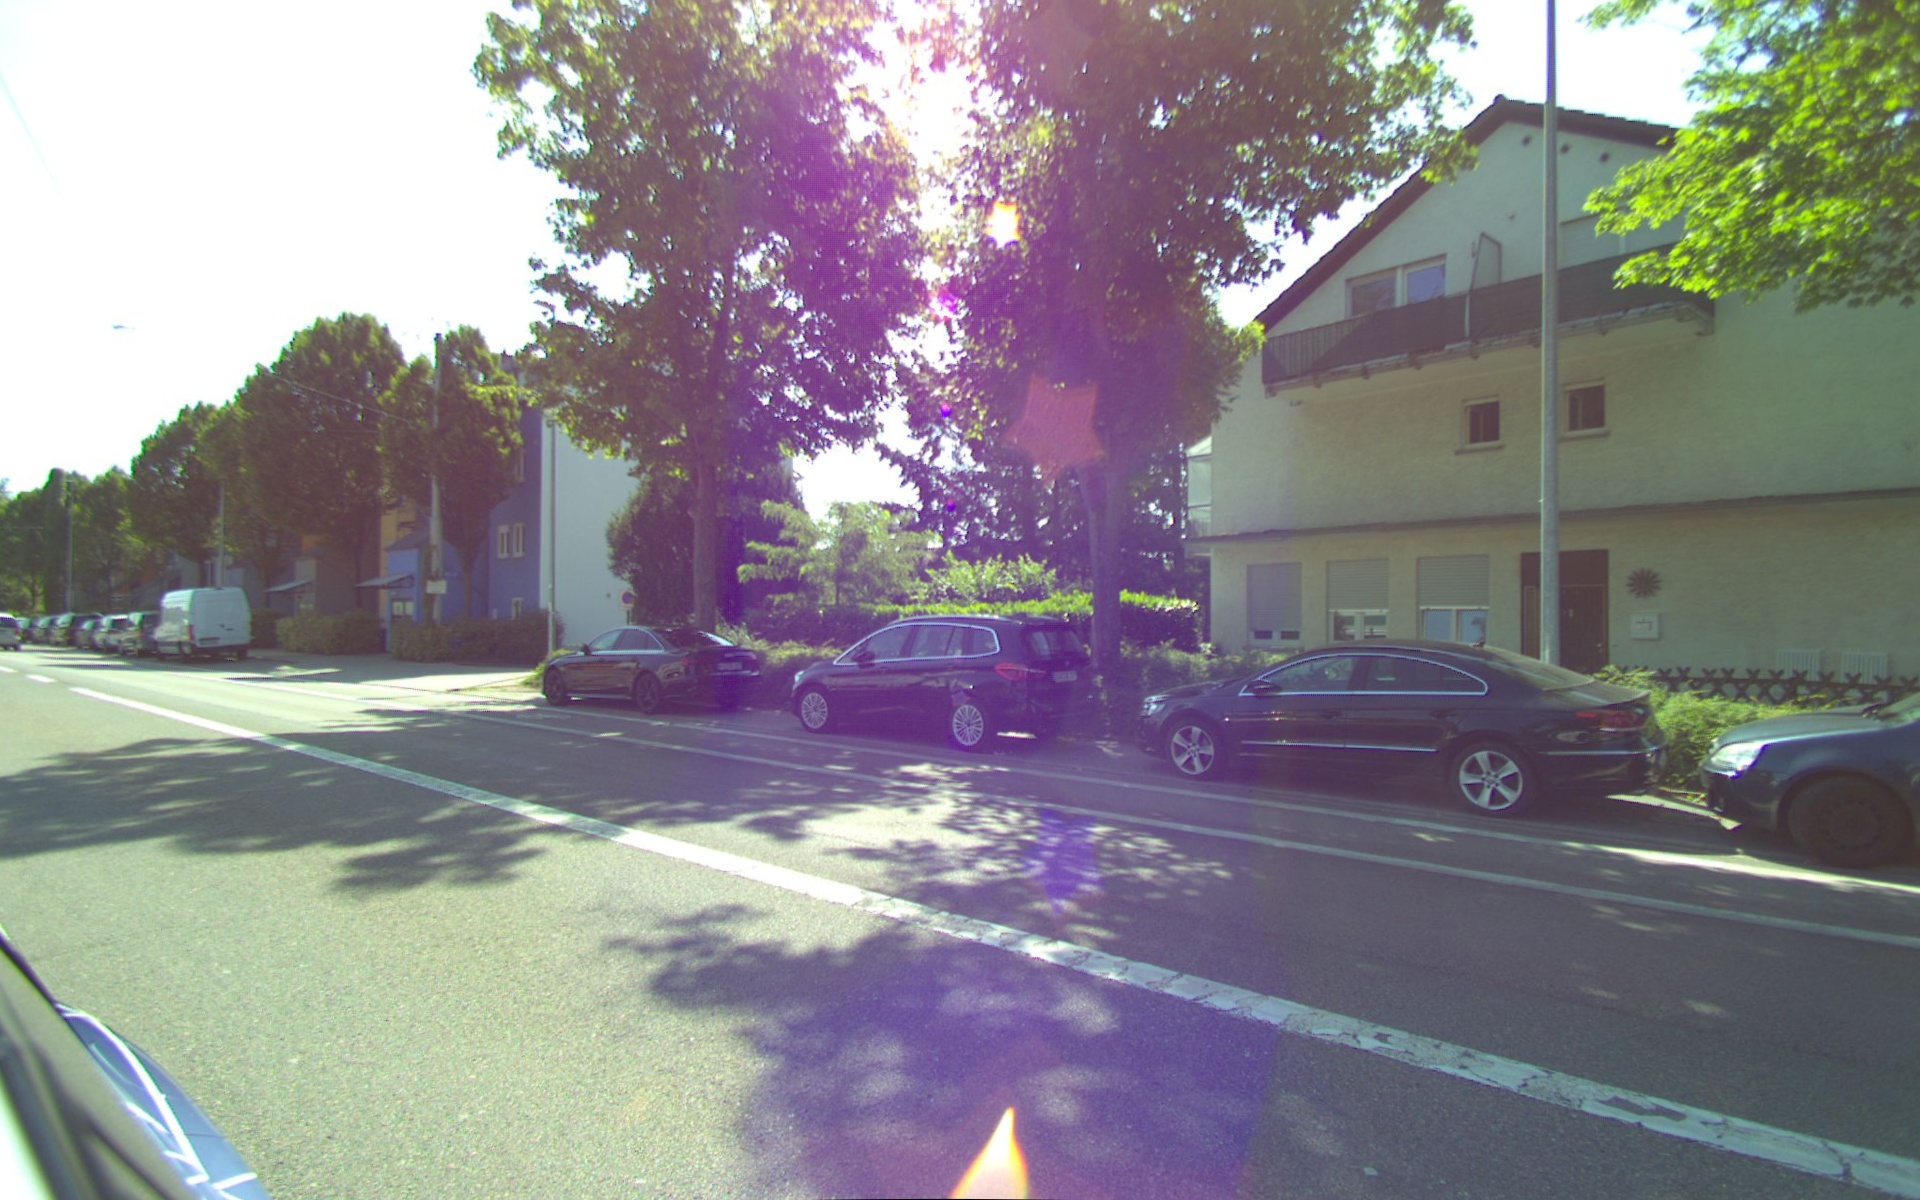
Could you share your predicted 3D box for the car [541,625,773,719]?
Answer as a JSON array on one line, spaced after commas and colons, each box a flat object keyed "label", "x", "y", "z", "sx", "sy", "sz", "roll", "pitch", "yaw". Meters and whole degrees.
[{"label": "car", "x": -5.367, "y": 1.167, "z": 17.625, "sx": 4.453, "sy": 1.447, "sz": 1.658, "roll": -1, "pitch": -3, "yaw": 39}]

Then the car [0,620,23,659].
[{"label": "car", "x": -42.088, "y": 1.685, "z": 43.865, "sx": 4.000, "sy": 1.608, "sz": 1.822, "roll": -1, "pitch": -3, "yaw": 43}]

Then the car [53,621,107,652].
[{"label": "car", "x": -46.835, "y": 1.920, "z": 53.838, "sx": 3.764, "sy": 1.513, "sz": 1.657, "roll": -1, "pitch": 1, "yaw": 41}]

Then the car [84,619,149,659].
[{"label": "car", "x": -39.277, "y": 1.772, "z": 47.109, "sx": 4.146, "sy": 1.681, "sz": 1.657, "roll": -1, "pitch": 1, "yaw": 41}]

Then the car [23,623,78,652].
[{"label": "car", "x": -51.712, "y": 2.102, "z": 57.525, "sx": 3.760, "sy": 1.513, "sz": 1.659, "roll": -1, "pitch": 1, "yaw": 38}]

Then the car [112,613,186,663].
[{"label": "car", "x": -34.757, "y": 1.600, "z": 43.326, "sx": 4.455, "sy": 1.951, "sz": 1.657, "roll": -1, "pitch": 1, "yaw": 41}]

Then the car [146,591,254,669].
[{"label": "car", "x": -28.659, "y": 1.098, "z": 38.057, "sx": 6.083, "sy": 2.671, "sz": 1.991, "roll": -1, "pitch": 1, "yaw": 41}]

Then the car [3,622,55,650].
[{"label": "car", "x": -56.001, "y": 2.140, "z": 60.875, "sx": 3.760, "sy": 1.513, "sz": 1.659, "roll": -1, "pitch": 1, "yaw": 38}]

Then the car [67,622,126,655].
[{"label": "car", "x": -43.305, "y": 1.890, "z": 50.737, "sx": 3.764, "sy": 1.513, "sz": 1.657, "roll": -1, "pitch": 1, "yaw": 41}]

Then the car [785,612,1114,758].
[{"label": "car", "x": -0.247, "y": 1.000, "z": 13.243, "sx": 4.238, "sy": 1.625, "sz": 1.658, "roll": -1, "pitch": -3, "yaw": 39}]

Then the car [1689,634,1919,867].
[{"label": "car", "x": 7.231, "y": 0.963, "z": 6.408, "sx": 4.082, "sy": 1.462, "sz": 1.598, "roll": -1, "pitch": -3, "yaw": 43}]

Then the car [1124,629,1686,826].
[{"label": "car", "x": 3.951, "y": 1.002, "z": 9.554, "sx": 4.579, "sy": 1.406, "sz": 1.679, "roll": -1, "pitch": -2, "yaw": 42}]
